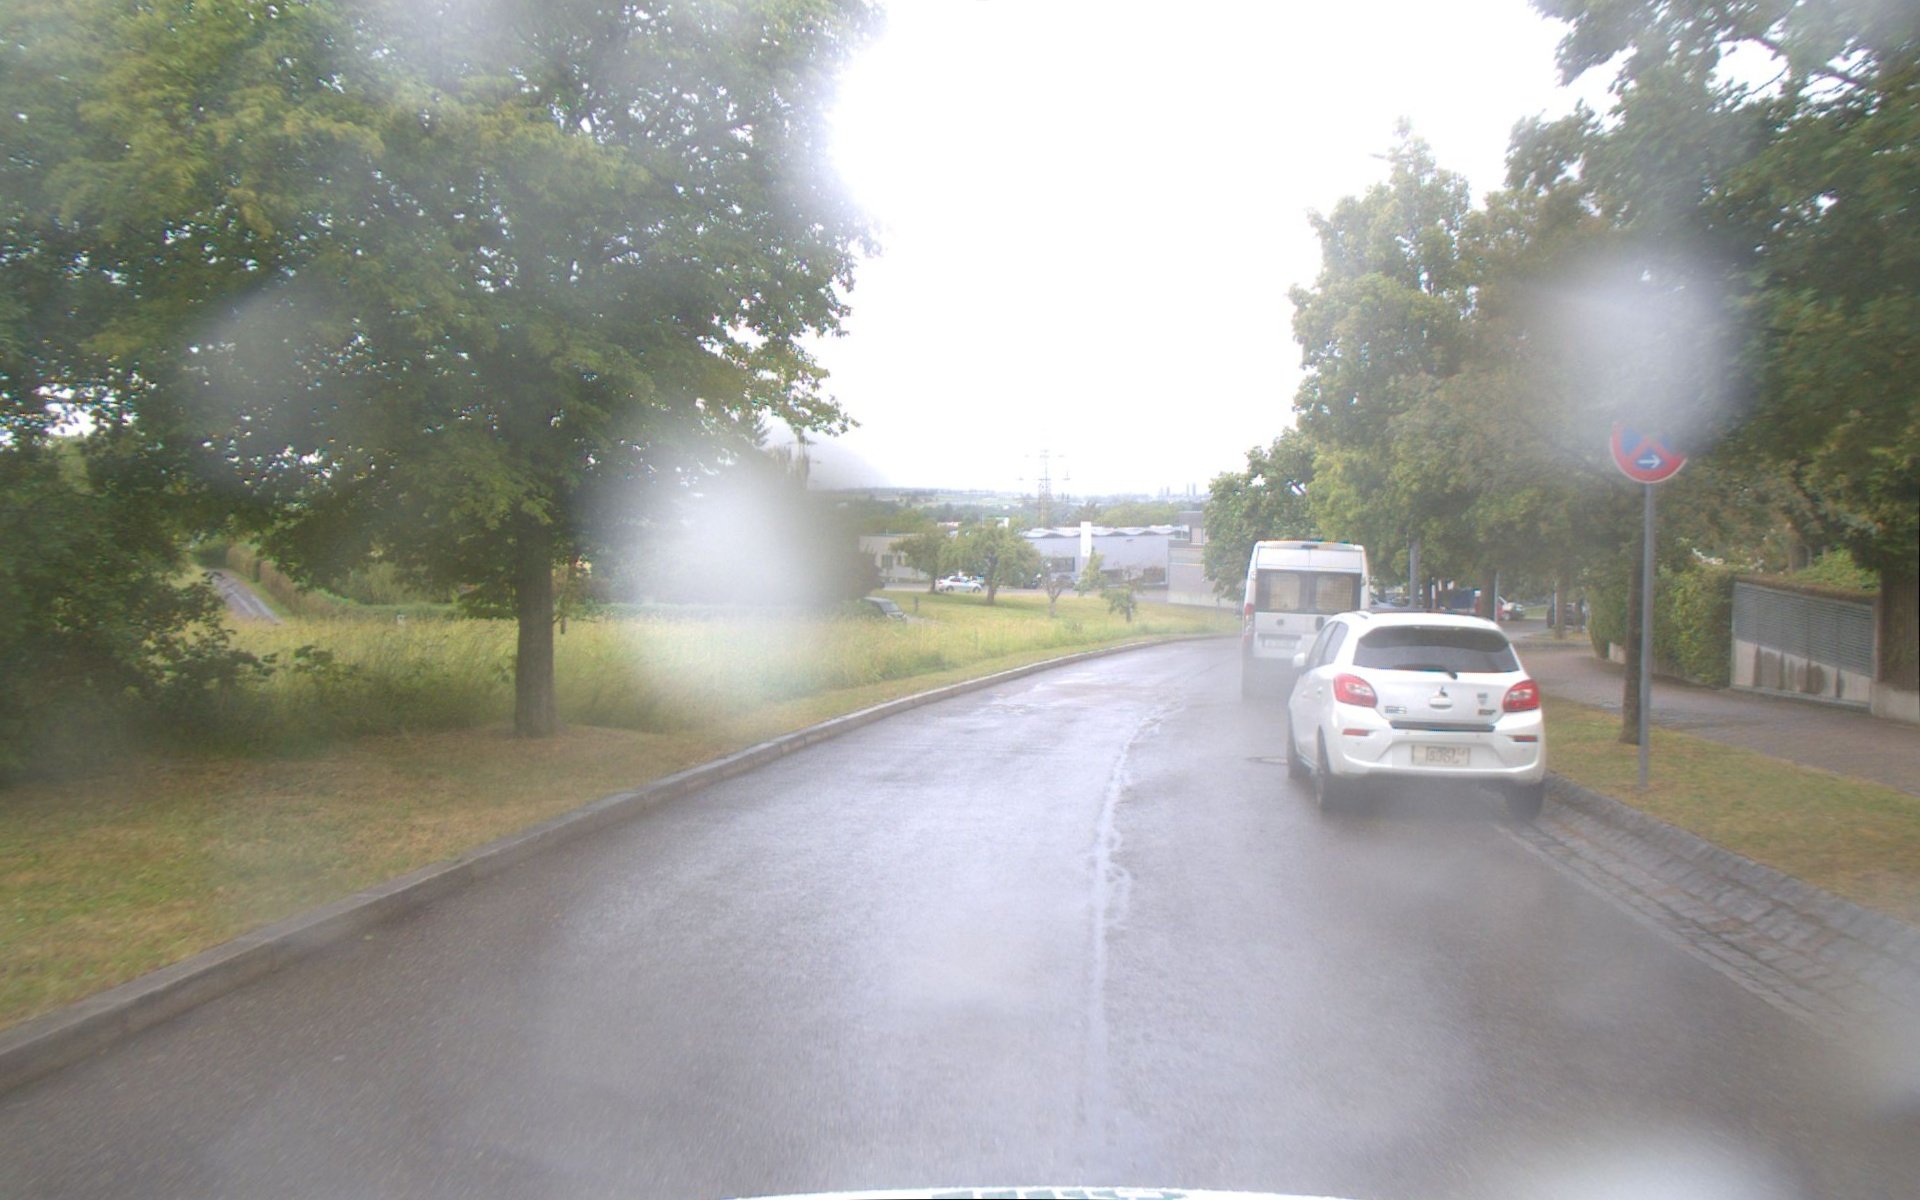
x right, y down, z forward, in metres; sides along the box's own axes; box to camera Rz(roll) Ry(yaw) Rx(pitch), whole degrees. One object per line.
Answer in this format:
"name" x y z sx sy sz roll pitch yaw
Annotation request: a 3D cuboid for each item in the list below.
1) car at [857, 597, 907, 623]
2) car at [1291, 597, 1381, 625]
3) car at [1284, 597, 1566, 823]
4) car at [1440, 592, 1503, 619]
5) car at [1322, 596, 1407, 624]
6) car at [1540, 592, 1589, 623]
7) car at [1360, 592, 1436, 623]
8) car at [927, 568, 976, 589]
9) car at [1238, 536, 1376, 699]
"car" -5.350 0.693 112.855 1.758 1.624 3.958 0 2 -31
"car" 18.754 0.528 82.531 4.084 1.379 1.860 0 0 27
"car" 3.613 0.774 13.443 1.572 1.529 3.728 2 0 6
"car" 31.669 0.350 102.390 3.495 1.634 1.689 0 0 30
"car" 20.584 0.518 84.180 3.909 1.384 1.852 0 0 27
"car" 34.095 0.389 93.181 1.658 1.578 3.684 3 3 35
"car" 24.112 0.413 91.062 3.794 1.574 1.772 1 1 26
"car" -0.808 -2.043 157.410 4.210 1.731 1.783 2 3 -27
"car" 5.951 0.257 28.831 2.072 2.510 5.515 2 0 10
